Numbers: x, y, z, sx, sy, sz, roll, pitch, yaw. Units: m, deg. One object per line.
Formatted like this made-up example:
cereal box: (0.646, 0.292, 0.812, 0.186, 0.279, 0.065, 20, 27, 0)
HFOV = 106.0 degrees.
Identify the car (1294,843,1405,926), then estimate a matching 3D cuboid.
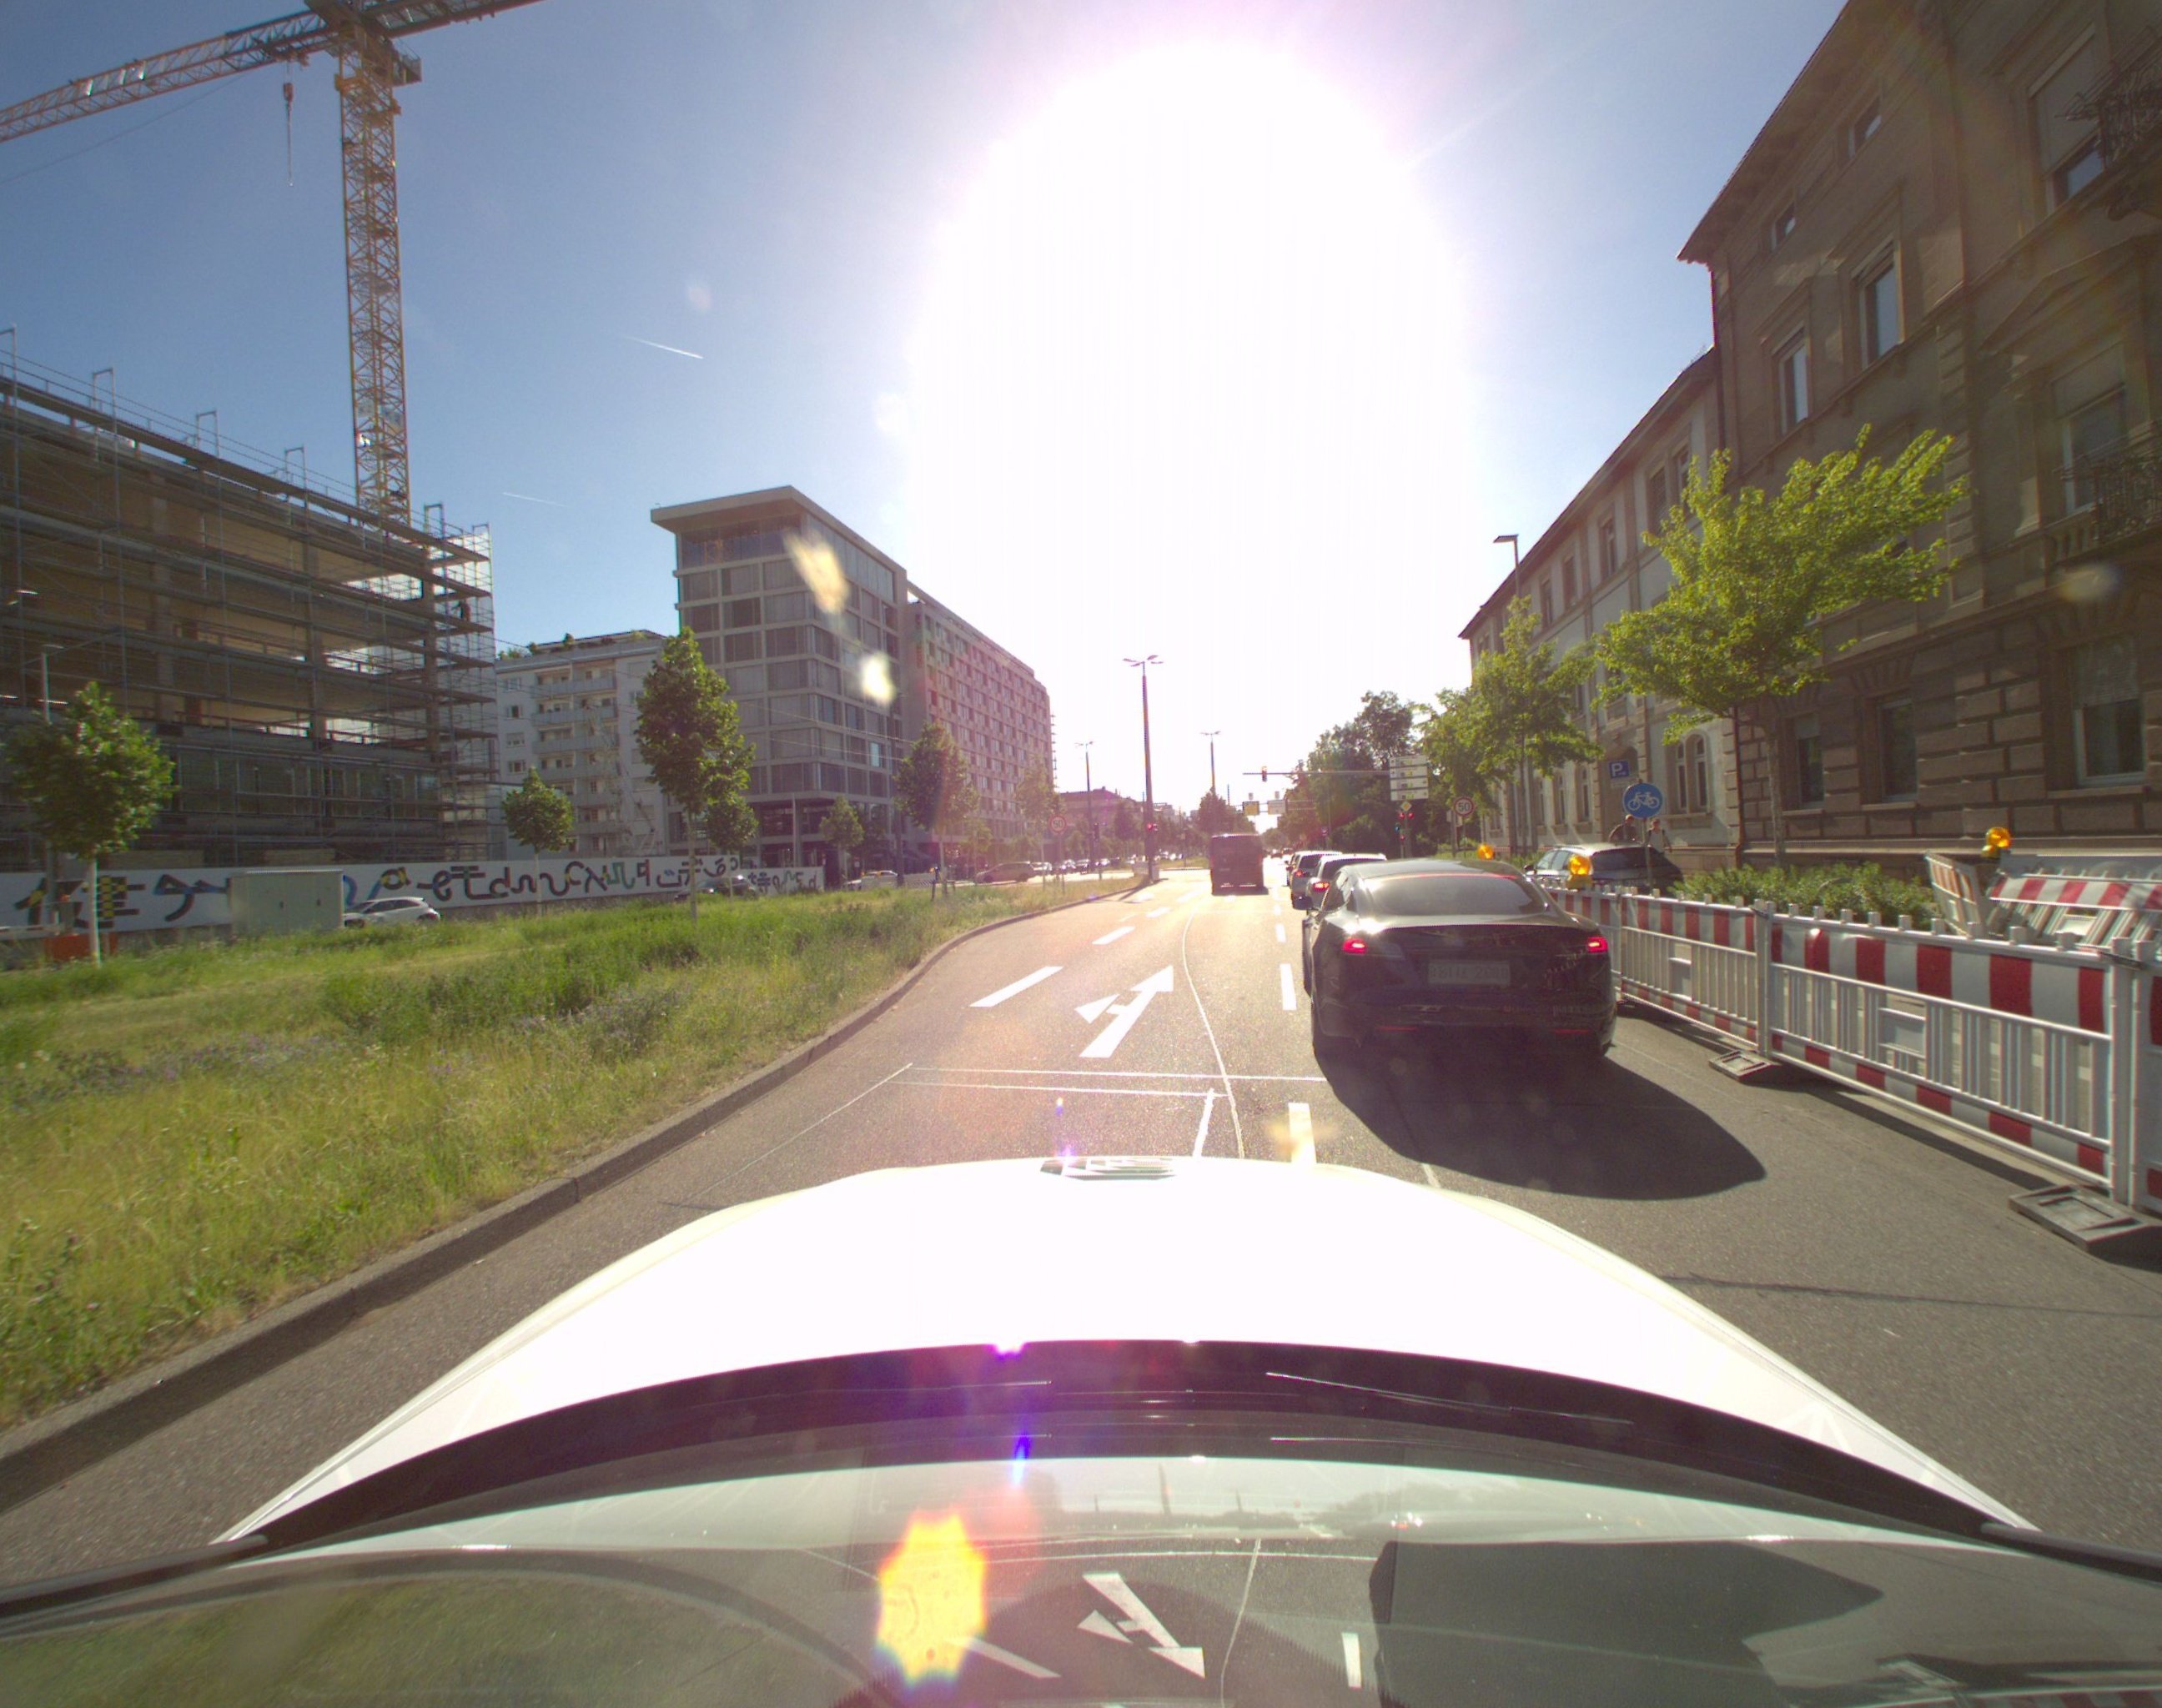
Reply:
car: (5.362, 0.526, 16.785, 1.735, 1.427, 4.856, -2, 0, 14)

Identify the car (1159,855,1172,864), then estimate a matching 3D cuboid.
car: (16.124, 1.002, 154.965, 1.795, 1.651, 4.016, -3, 0, 14)

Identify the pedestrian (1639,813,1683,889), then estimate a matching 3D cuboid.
pedestrian: (14.598, -0.078, 20.495, 0.559, 1.821, 0.589, -6, -1, 13)

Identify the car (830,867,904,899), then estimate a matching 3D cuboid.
car: (-13.826, 1.847, 52.914, 1.974, 1.792, 4.555, -3, 0, 28)

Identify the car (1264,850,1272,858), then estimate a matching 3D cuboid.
car: (44.350, 0.047, 193.162, 1.780, 1.873, 3.863, -2, 0, 12)

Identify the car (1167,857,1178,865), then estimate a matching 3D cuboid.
car: (19.854, 1.442, 177.302, 1.777, 1.651, 4.016, -3, 0, 14)

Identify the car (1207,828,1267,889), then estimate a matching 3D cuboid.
car: (6.442, 0.161, 33.296, 2.203, 2.267, 4.500, -2, 0, 13)

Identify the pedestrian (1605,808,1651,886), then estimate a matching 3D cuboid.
pedestrian: (13.927, -0.172, 20.749, 0.654, 1.913, 0.589, -6, -1, 13)

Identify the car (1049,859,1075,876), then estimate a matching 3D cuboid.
car: (-2.034, 1.426, 88.823, 1.777, 1.651, 4.016, -3, 0, 14)

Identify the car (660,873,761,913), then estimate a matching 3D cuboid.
car: (-19.441, 2.012, 42.963, 1.975, 1.792, 4.554, -3, 0, 25)

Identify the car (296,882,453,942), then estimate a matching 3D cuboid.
car: (-26.691, 2.142, 30.926, 1.892, 1.918, 4.007, -3, 0, 21)

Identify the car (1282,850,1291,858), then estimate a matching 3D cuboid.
car: (47.336, -0.054, 187.567, 1.780, 1.873, 3.863, -2, 0, 12)

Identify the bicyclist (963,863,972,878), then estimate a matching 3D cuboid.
bicyclist: (-12.275, 1.770, 88.006, 0.588, 1.580, 0.896, -1, -1, 18)

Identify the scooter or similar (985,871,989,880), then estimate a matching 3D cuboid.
scooter or similar: (-9.802, 2.233, 84.905, 0.284, 0.947, 0.769, -3, -1, 7)

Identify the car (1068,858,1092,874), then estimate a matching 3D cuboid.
car: (-0.081, 1.426, 96.605, 1.777, 1.651, 4.016, -3, 0, 14)

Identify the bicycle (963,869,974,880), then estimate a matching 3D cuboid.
bicycle: (-12.143, 2.233, 87.992, 0.582, 1.100, 1.630, -1, -1, 18)

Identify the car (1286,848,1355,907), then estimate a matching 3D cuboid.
car: (6.887, 0.612, 23.697, 1.737, 1.527, 4.020, -2, 0, 14)

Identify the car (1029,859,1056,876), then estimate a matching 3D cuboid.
car: (-4.301, 1.506, 91.811, 1.777, 1.651, 4.016, -3, 0, 14)

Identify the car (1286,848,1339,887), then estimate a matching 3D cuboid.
car: (9.206, 0.512, 32.667, 1.780, 1.428, 3.863, -2, 0, 12)

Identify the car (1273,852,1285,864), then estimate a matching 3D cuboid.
car: (32.140, 0.677, 132.390, 1.780, 1.873, 3.863, -2, 0, 12)

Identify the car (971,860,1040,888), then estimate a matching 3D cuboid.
car: (-5.457, 1.434, 58.993, 4.528, 1.792, 1.986, -3, 0, -21)

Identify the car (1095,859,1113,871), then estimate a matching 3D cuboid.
car: (3.410, 1.602, 122.298, 1.777, 1.651, 4.016, -3, 0, 14)

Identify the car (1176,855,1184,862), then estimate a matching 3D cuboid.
car: (27.887, 1.215, 228.962, 1.777, 1.651, 4.016, -3, 0, 14)

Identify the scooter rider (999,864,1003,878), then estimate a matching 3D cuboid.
scooter rider: (-8.332, 1.776, 84.633, 0.340, 1.453, 0.240, -3, -1, 14)

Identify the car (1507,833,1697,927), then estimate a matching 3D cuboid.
car: (10.158, 0.430, 16.317, 1.636, 1.475, 4.718, -6, -1, 13)

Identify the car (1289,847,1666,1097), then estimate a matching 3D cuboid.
car: (2.928, 0.691, 7.173, 2.037, 1.444, 4.541, -1, 0, 13)

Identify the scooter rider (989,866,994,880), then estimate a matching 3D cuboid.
scooter rider: (-9.372, 1.955, 84.984, 0.340, 1.453, 0.240, -3, -1, 14)
